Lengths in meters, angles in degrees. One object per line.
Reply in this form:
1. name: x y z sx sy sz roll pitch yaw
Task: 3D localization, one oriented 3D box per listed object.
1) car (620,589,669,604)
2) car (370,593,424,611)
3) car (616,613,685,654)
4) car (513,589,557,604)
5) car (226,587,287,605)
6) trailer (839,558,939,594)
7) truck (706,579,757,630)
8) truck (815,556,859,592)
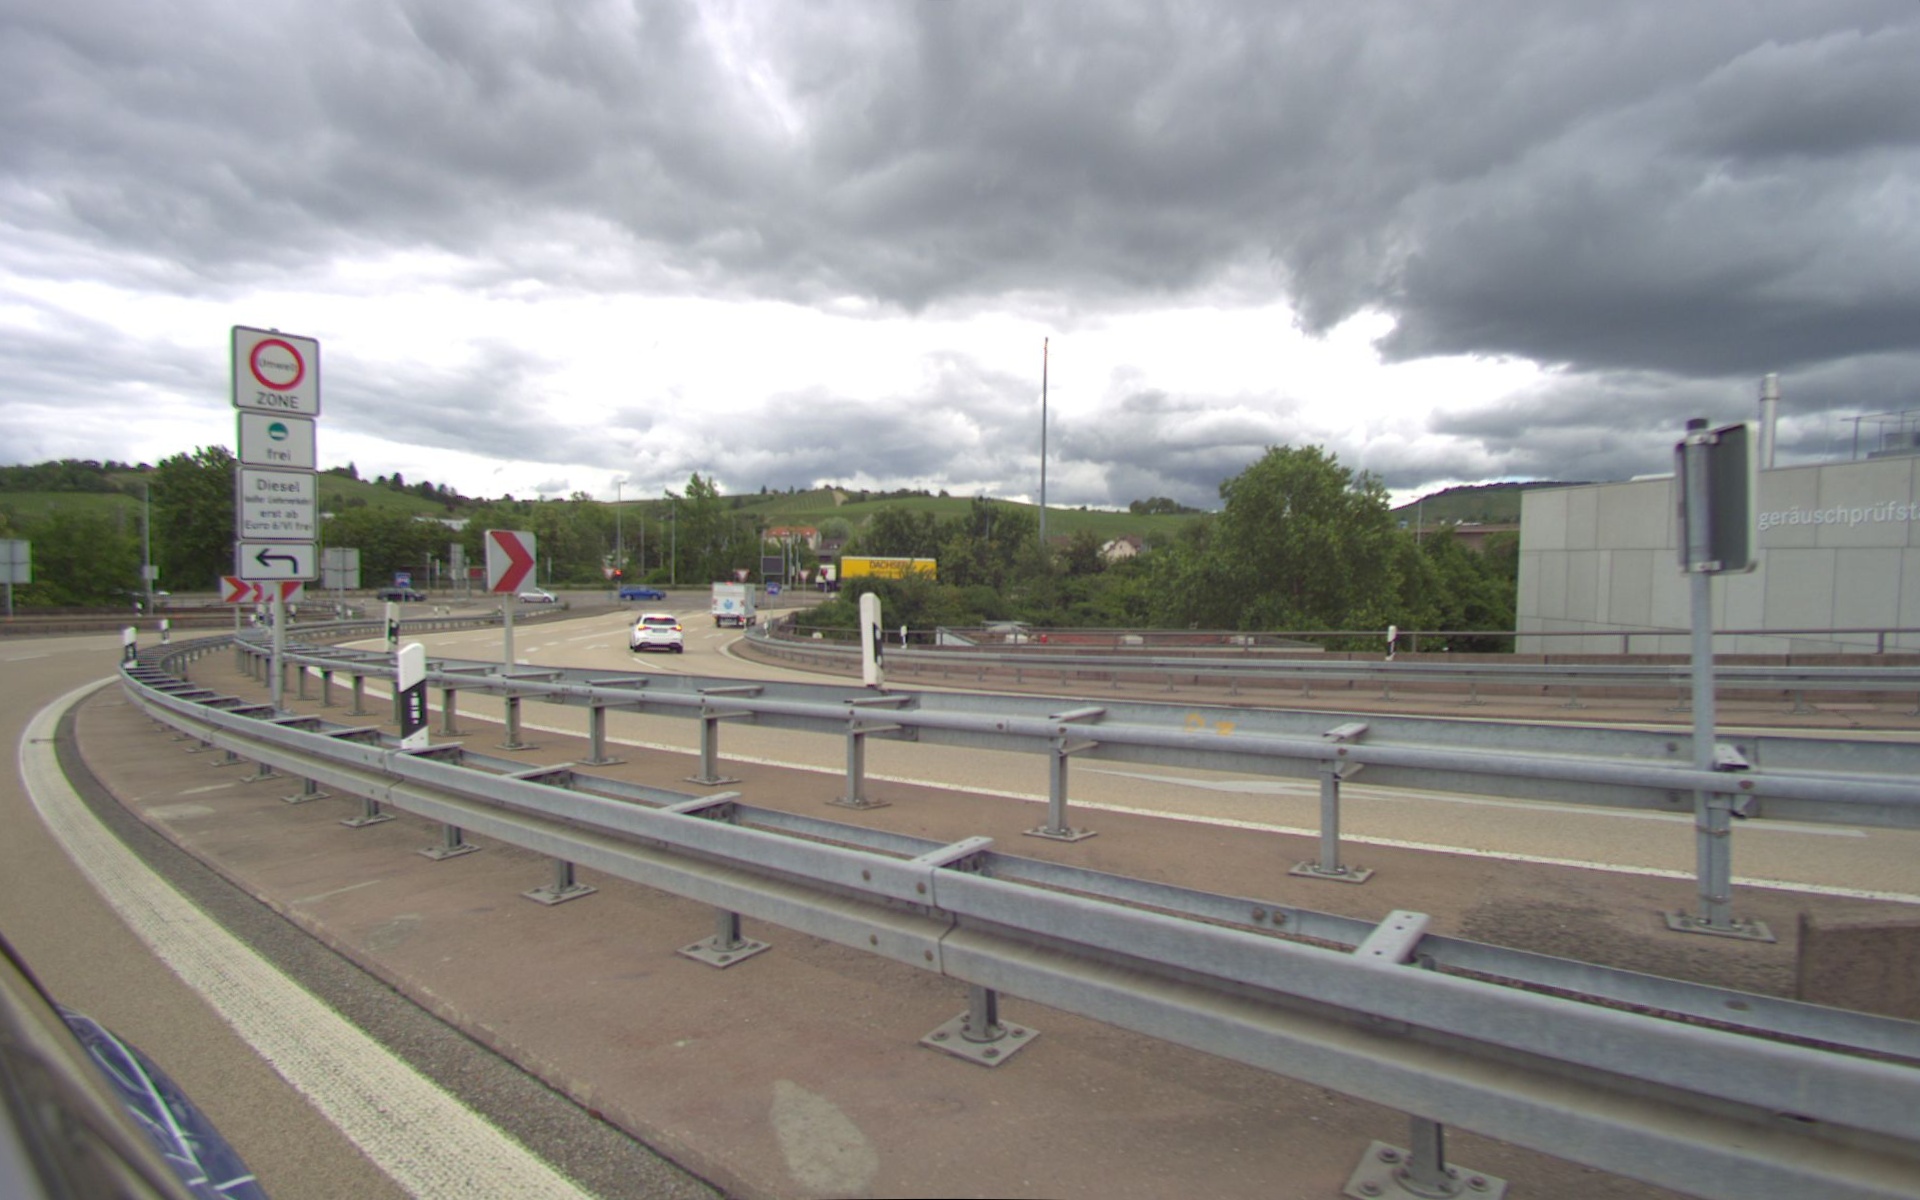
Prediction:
1. car: -32.055 -0.375 102.849 4.477 1.464 1.611 -1 3 -1
2. car: -55.328 0.184 99.505 4.230 1.568 1.950 -1 3 -4
3. car: -11.919 1.247 38.799 1.884 1.425 4.379 3 -2 -25
4. car: -41.914 -0.345 99.802 3.694 1.384 1.630 -1 3 -2
5. car: -69.160 -0.406 99.514 4.646 1.572 1.880 -1 3 -3
6. trailer: -8.303 -2.843 118.916 11.486 4.235 2.637 0 2 -2
7. truck: -15.727 0.260 70.163 2.317 3.288 7.002 2 0 -4
8. truck: -14.386 -3.069 118.686 5.027 4.235 2.637 0 2 -2
